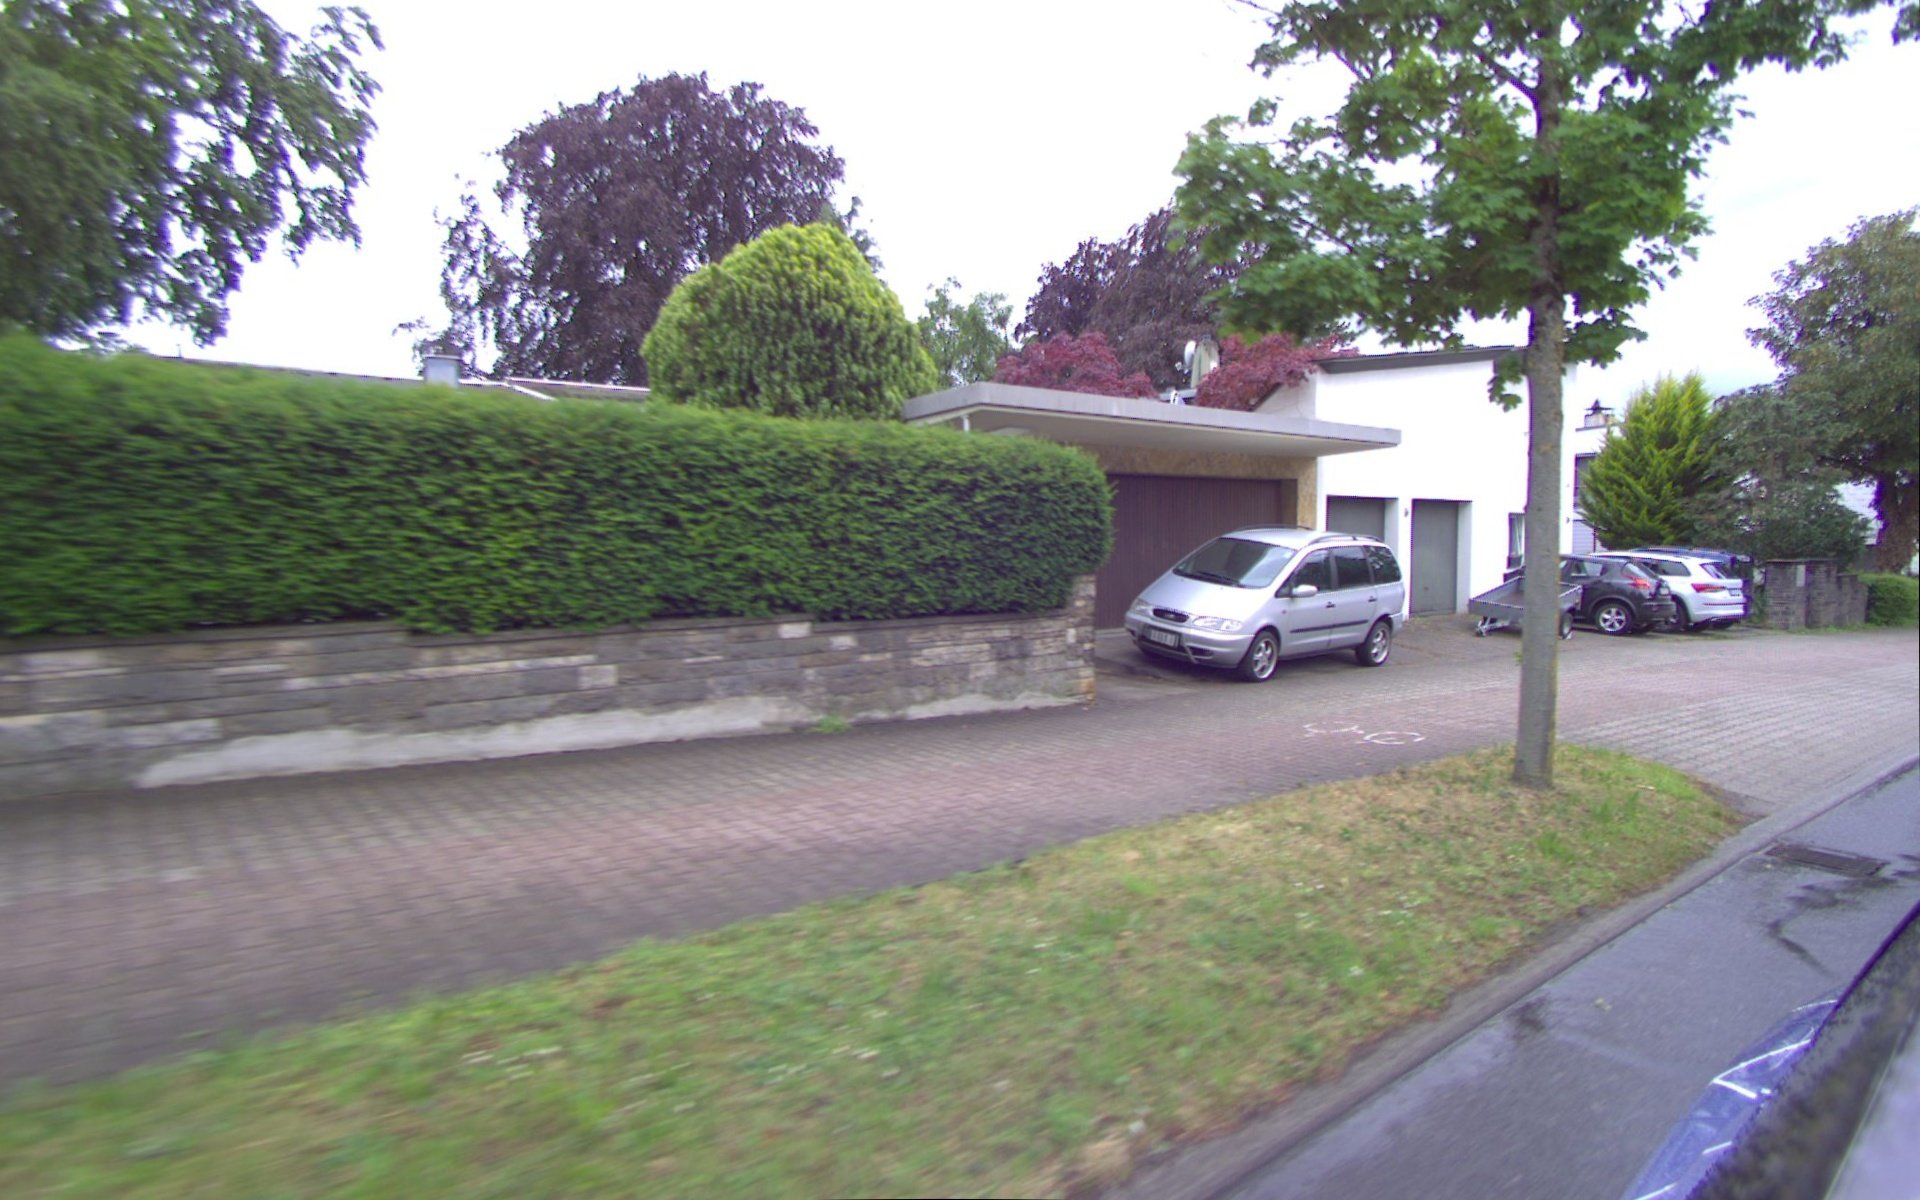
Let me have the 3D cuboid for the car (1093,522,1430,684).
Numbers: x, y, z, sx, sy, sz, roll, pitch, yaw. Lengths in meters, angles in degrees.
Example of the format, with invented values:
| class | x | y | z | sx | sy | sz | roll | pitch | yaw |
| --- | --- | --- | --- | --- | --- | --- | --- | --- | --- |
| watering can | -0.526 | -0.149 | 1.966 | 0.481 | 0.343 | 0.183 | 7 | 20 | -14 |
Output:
| class | x | y | z | sx | sy | sz | roll | pitch | yaw |
| --- | --- | --- | --- | --- | --- | --- | --- | --- | --- |
| car | 4.101 | -0.054 | 13.345 | 4.854 | 1.779 | 1.799 | -1 | 3 | -39 |

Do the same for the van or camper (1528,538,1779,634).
| class | x | y | z | sx | sy | sz | roll | pitch | yaw |
| --- | --- | --- | --- | --- | --- | --- | --- | --- | --- |
| van or camper | 15.235 | -0.395 | 22.426 | 2.083 | 1.696 | 4.005 | -1 | 7 | -34 |

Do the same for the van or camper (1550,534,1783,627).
| class | x | y | z | sx | sy | sz | roll | pitch | yaw |
| --- | --- | --- | --- | --- | --- | --- | --- | --- | --- |
| van or camper | 16.743 | -0.551 | 24.203 | 1.909 | 1.809 | 4.034 | -1 | 6 | -31 |

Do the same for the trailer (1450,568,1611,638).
| class | x | y | z | sx | sy | sz | roll | pitch | yaw |
| --- | --- | --- | --- | --- | --- | --- | --- | --- | --- |
| trailer | 10.569 | 0.004 | 18.696 | 3.217 | 0.931 | 1.425 | -3 | 11 | -39 |

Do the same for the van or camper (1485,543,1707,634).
| class | x | y | z | sx | sy | sz | roll | pitch | yaw |
| --- | --- | --- | --- | --- | --- | --- | --- | --- | --- |
| van or camper | 12.921 | -0.308 | 20.698 | 1.738 | 1.574 | 3.412 | -2 | 6 | -39 |
